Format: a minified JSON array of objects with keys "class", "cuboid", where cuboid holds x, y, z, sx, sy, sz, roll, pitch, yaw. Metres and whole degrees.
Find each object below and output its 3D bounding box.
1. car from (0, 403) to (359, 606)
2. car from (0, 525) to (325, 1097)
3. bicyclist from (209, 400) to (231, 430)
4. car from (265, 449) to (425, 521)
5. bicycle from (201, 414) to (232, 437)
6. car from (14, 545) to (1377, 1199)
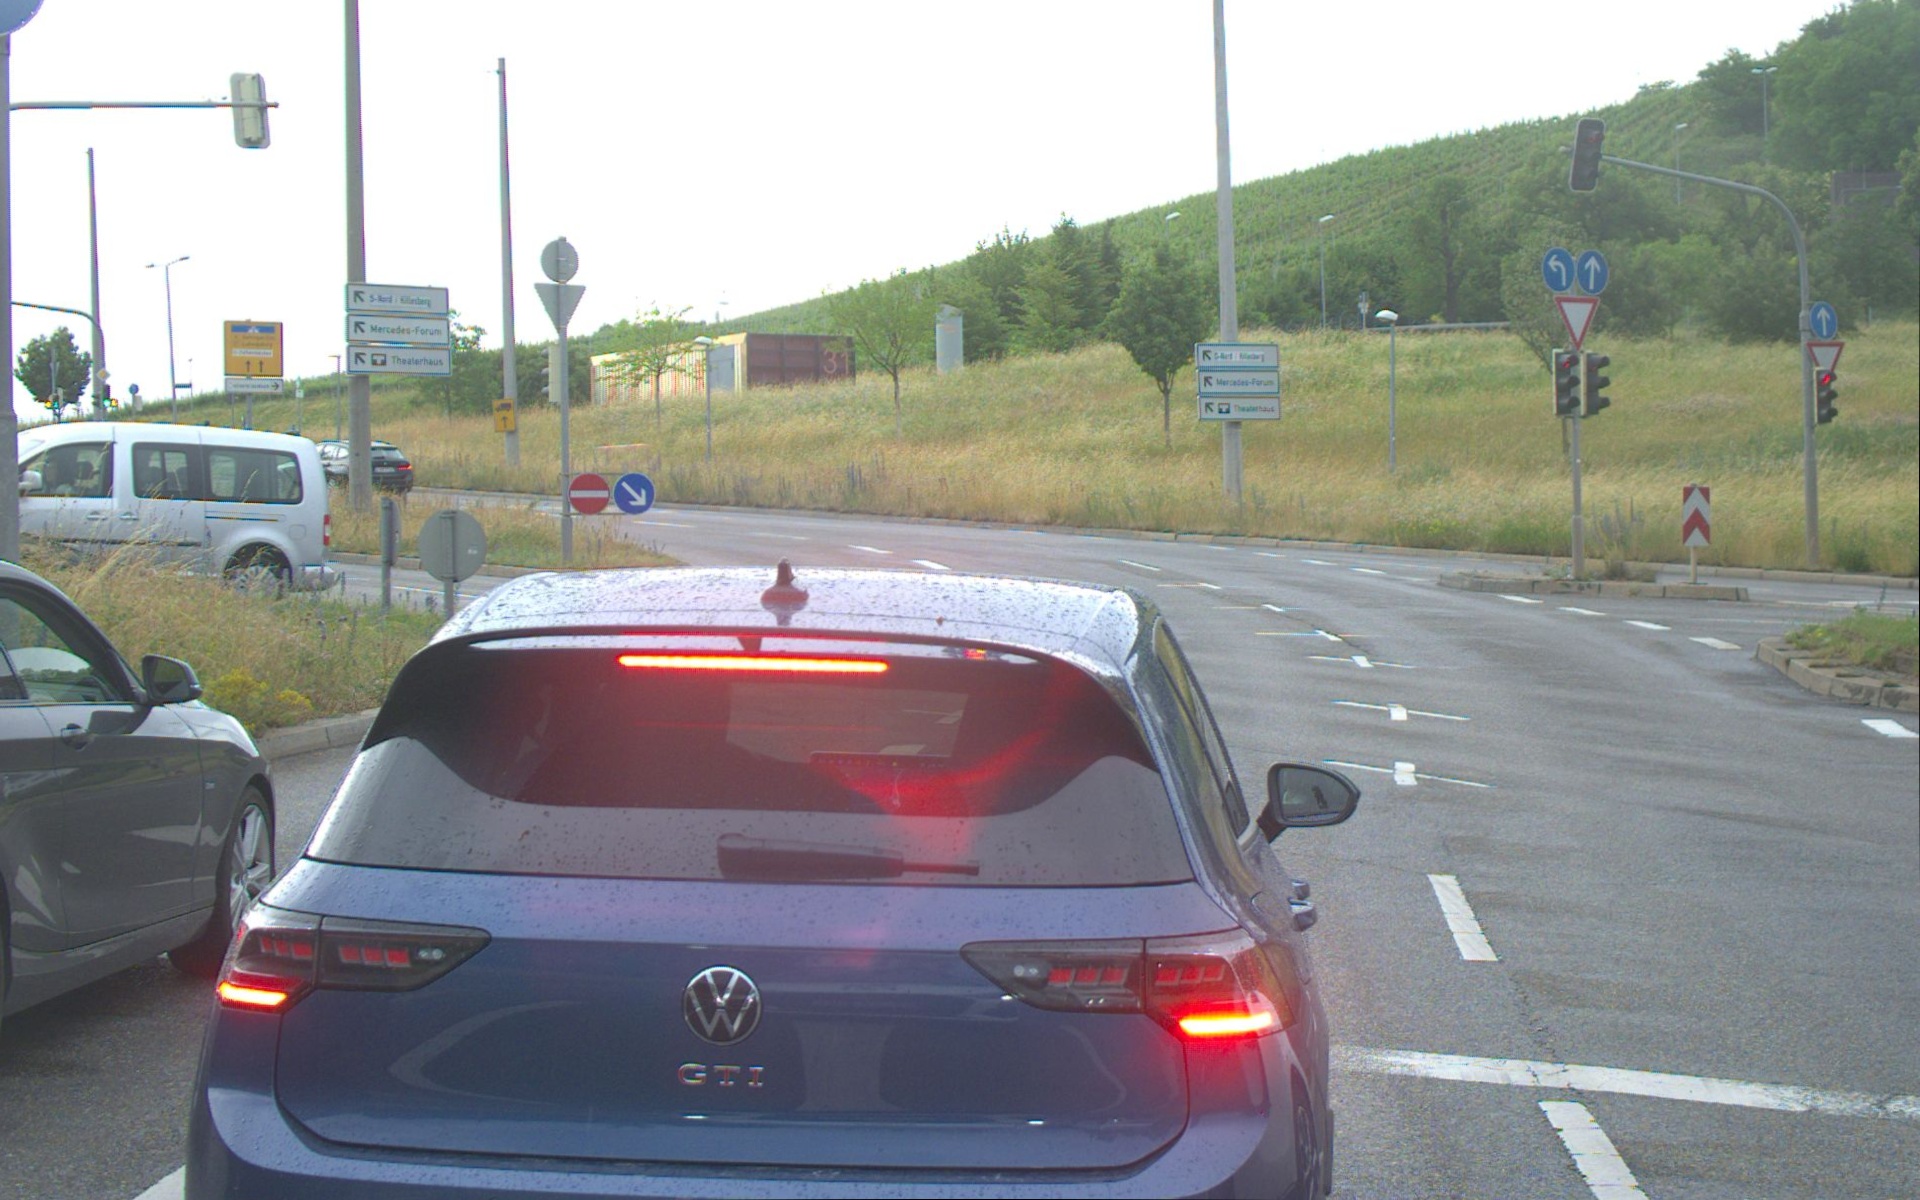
[{"class":"car","cuboid":[-8.345,-0.894,33.131,4.683,1.844,1.821,1,0,-35]},{"class":"car","cuboid":[-3.211,0.517,9.825,1.703,1.454,4.114,0,1,5]},{"class":"bicyclist","cuboid":[-26.290,-6.573,122.090,0.523,1.043,0.580,3,1,-34]},{"class":"car","cuboid":[-14.693,-2.755,81.885,1.993,1.612,4.852,1,2,-33]},{"class":"bicycle","cuboid":[-26.455,-6.207,122.284,0.518,0.772,1.621,1,1,-33]},{"class":"car","cuboid":[-0.211,0.631,6.472,1.825,1.455,3.808,0,1,5]}]
